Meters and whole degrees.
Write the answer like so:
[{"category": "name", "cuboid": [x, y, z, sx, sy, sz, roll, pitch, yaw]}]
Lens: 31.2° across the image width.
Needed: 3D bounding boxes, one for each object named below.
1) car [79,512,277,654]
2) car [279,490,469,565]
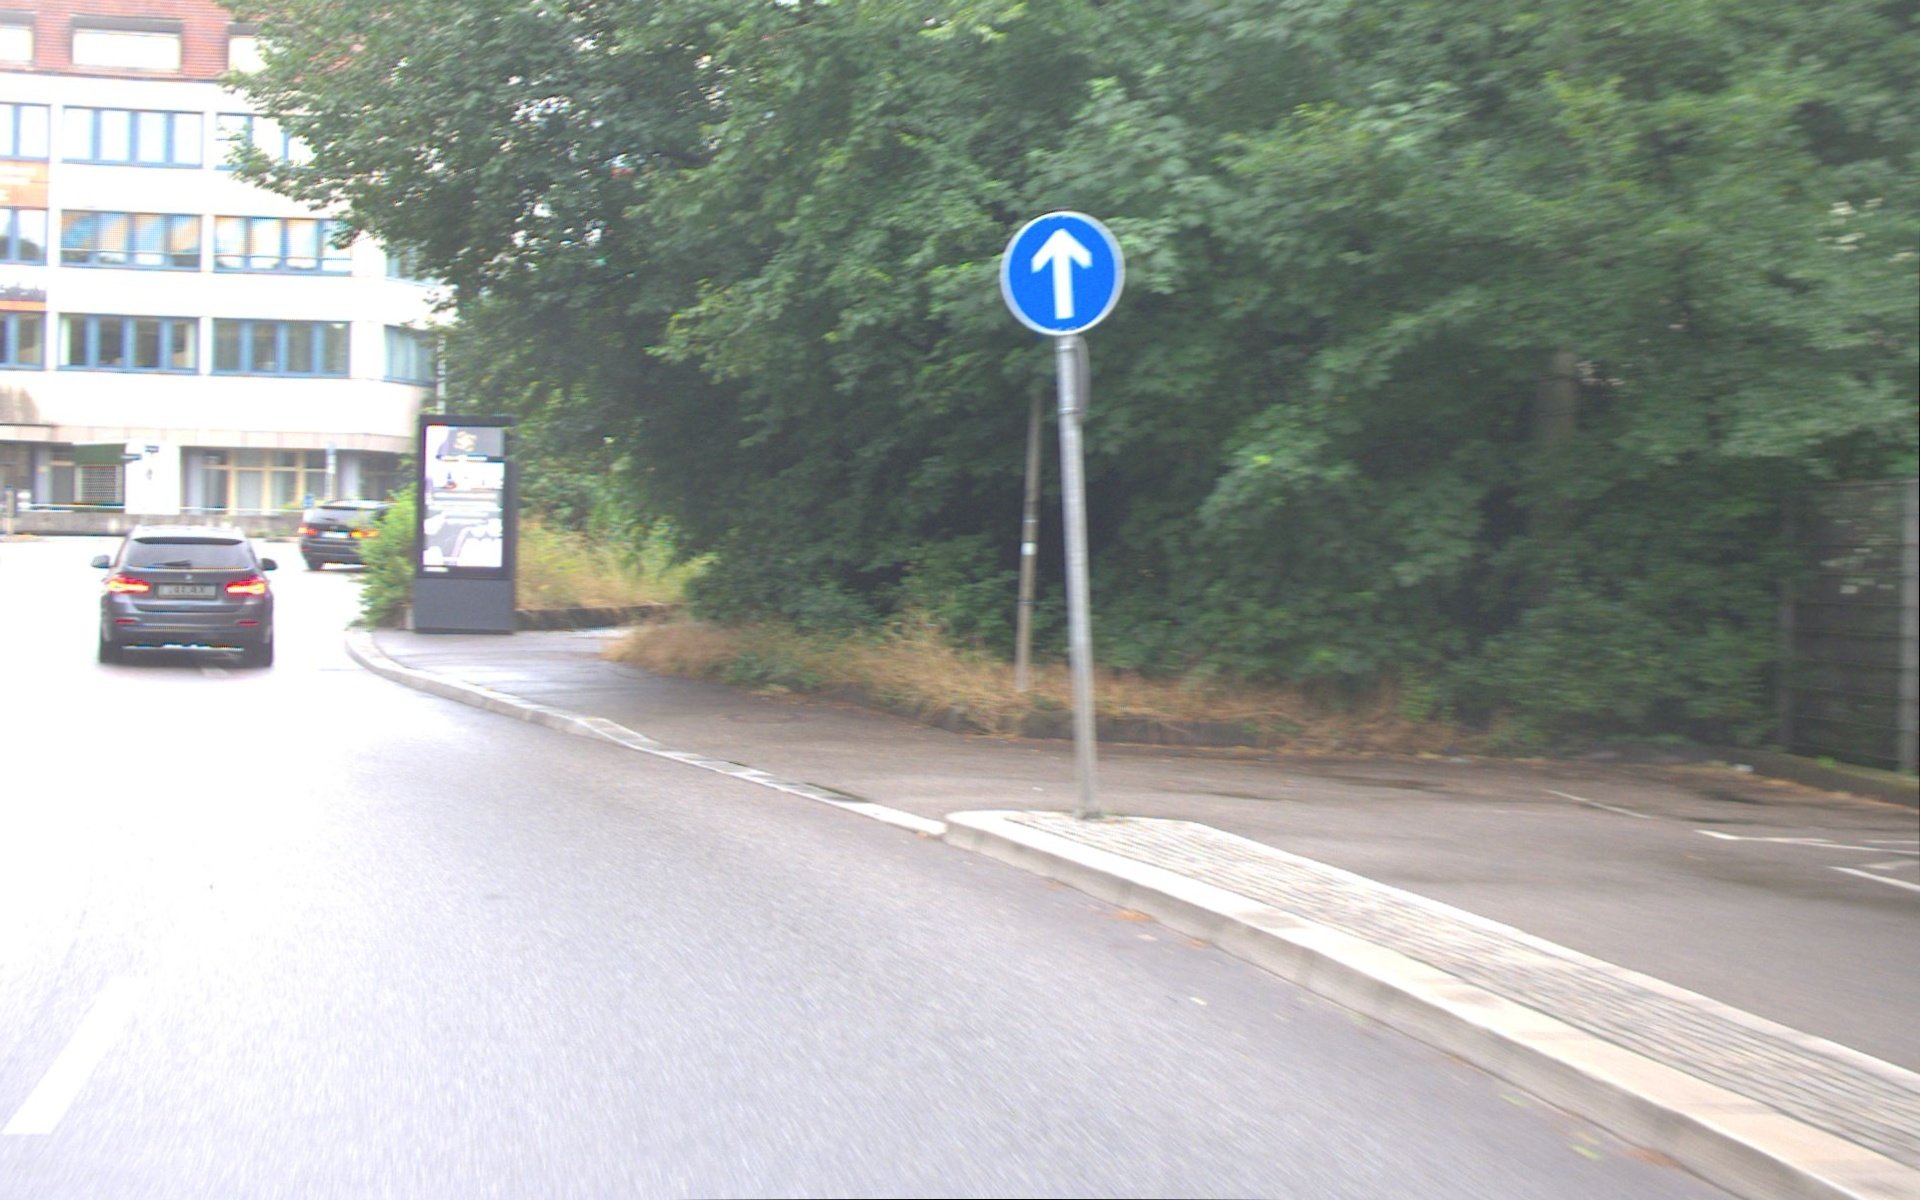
[{"category": "car", "cuboid": [-8.352, -0.208, 36.985, 1.958, 1.421, 4.126, 1, 1, -11]}, {"category": "car", "cuboid": [-11.802, -1.463, 69.521, 1.793, 1.421, 4.609, 2, 2, 19]}]
